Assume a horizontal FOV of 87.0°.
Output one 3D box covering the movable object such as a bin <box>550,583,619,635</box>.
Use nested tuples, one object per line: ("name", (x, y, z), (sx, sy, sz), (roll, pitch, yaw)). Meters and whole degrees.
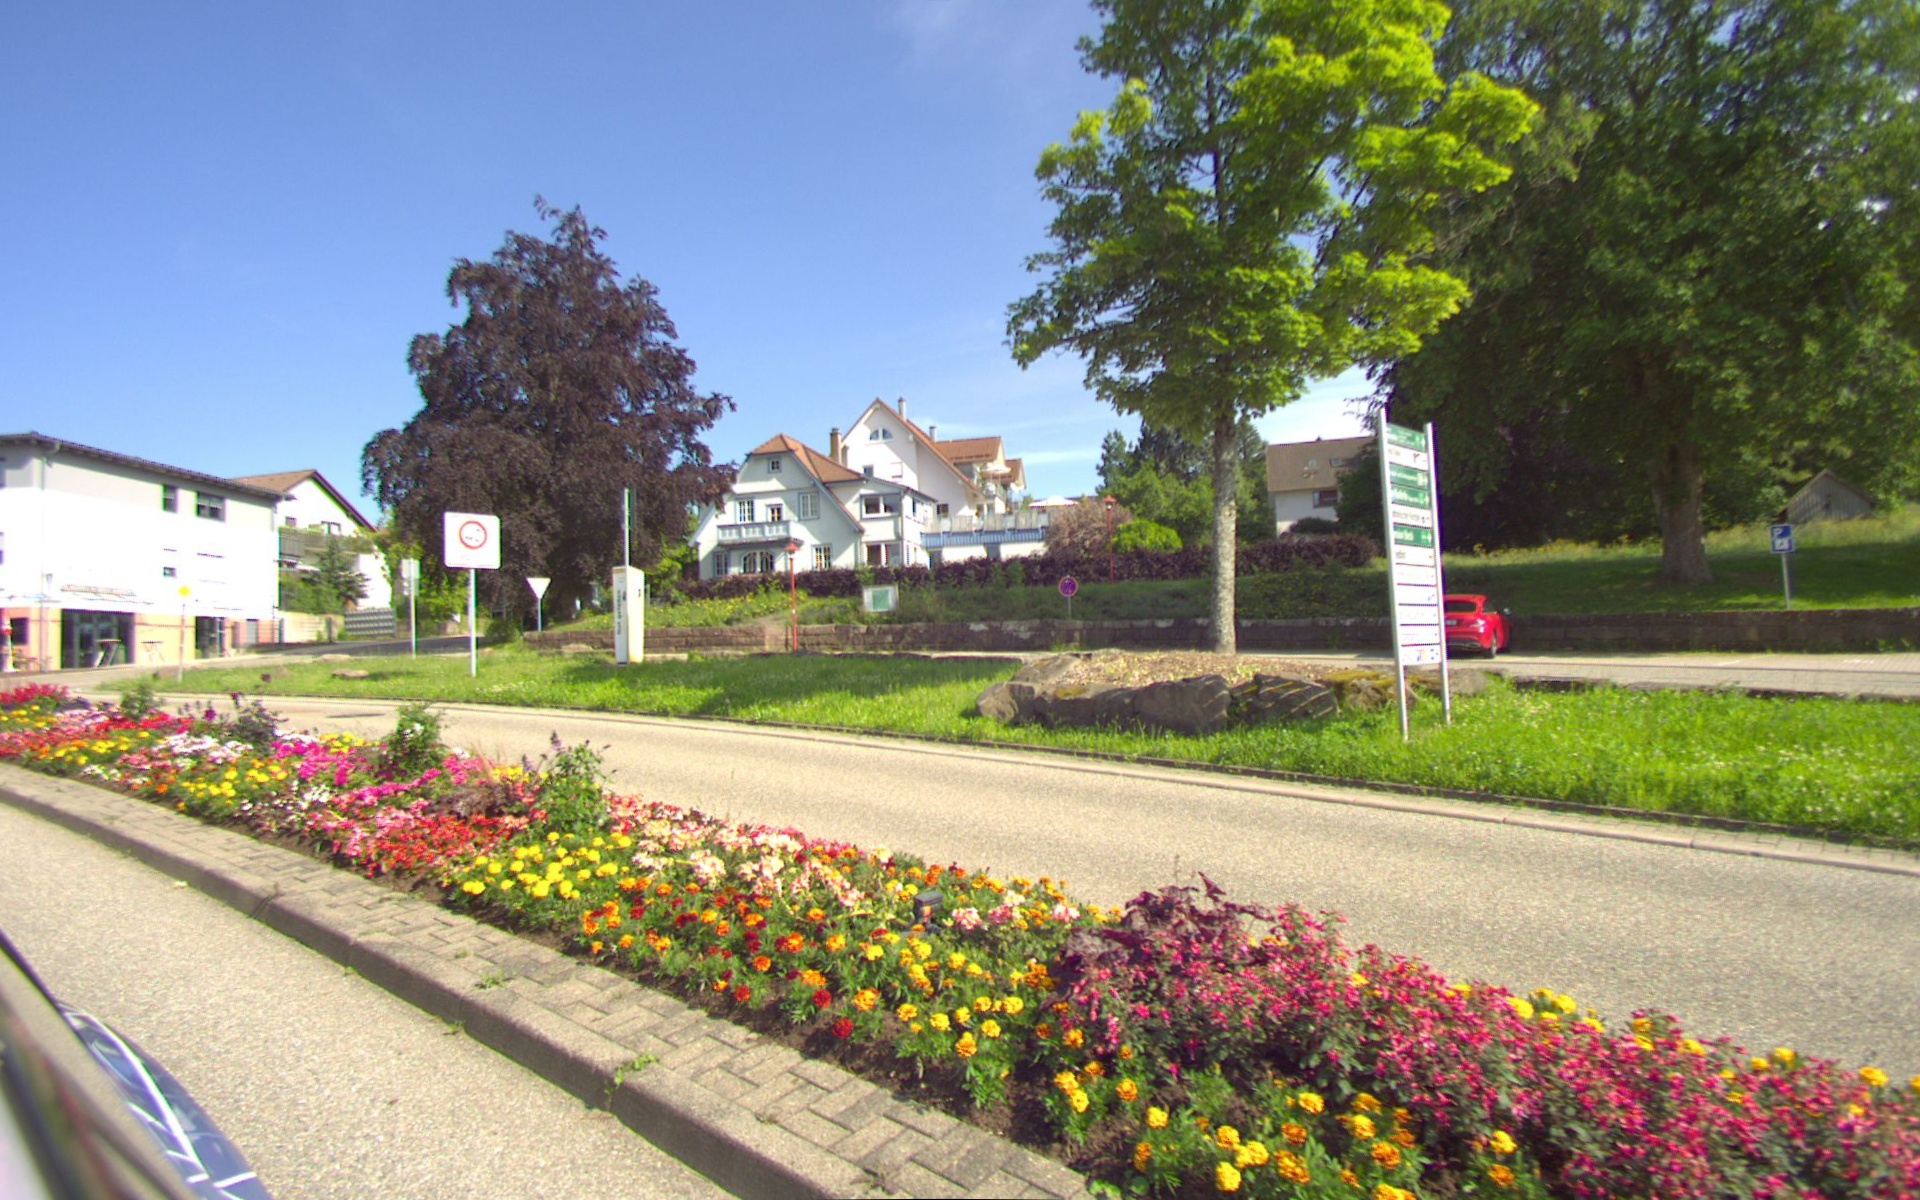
("movable object such as a bin", (-21.546, 0.531, 58.281), (1.972, 2.790, 5.103), (-2, -1, 1))

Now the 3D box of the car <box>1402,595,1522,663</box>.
("car", (11.796, 0.641, 23.656), (1.820, 1.409, 4.187), (-2, -1, 36))
